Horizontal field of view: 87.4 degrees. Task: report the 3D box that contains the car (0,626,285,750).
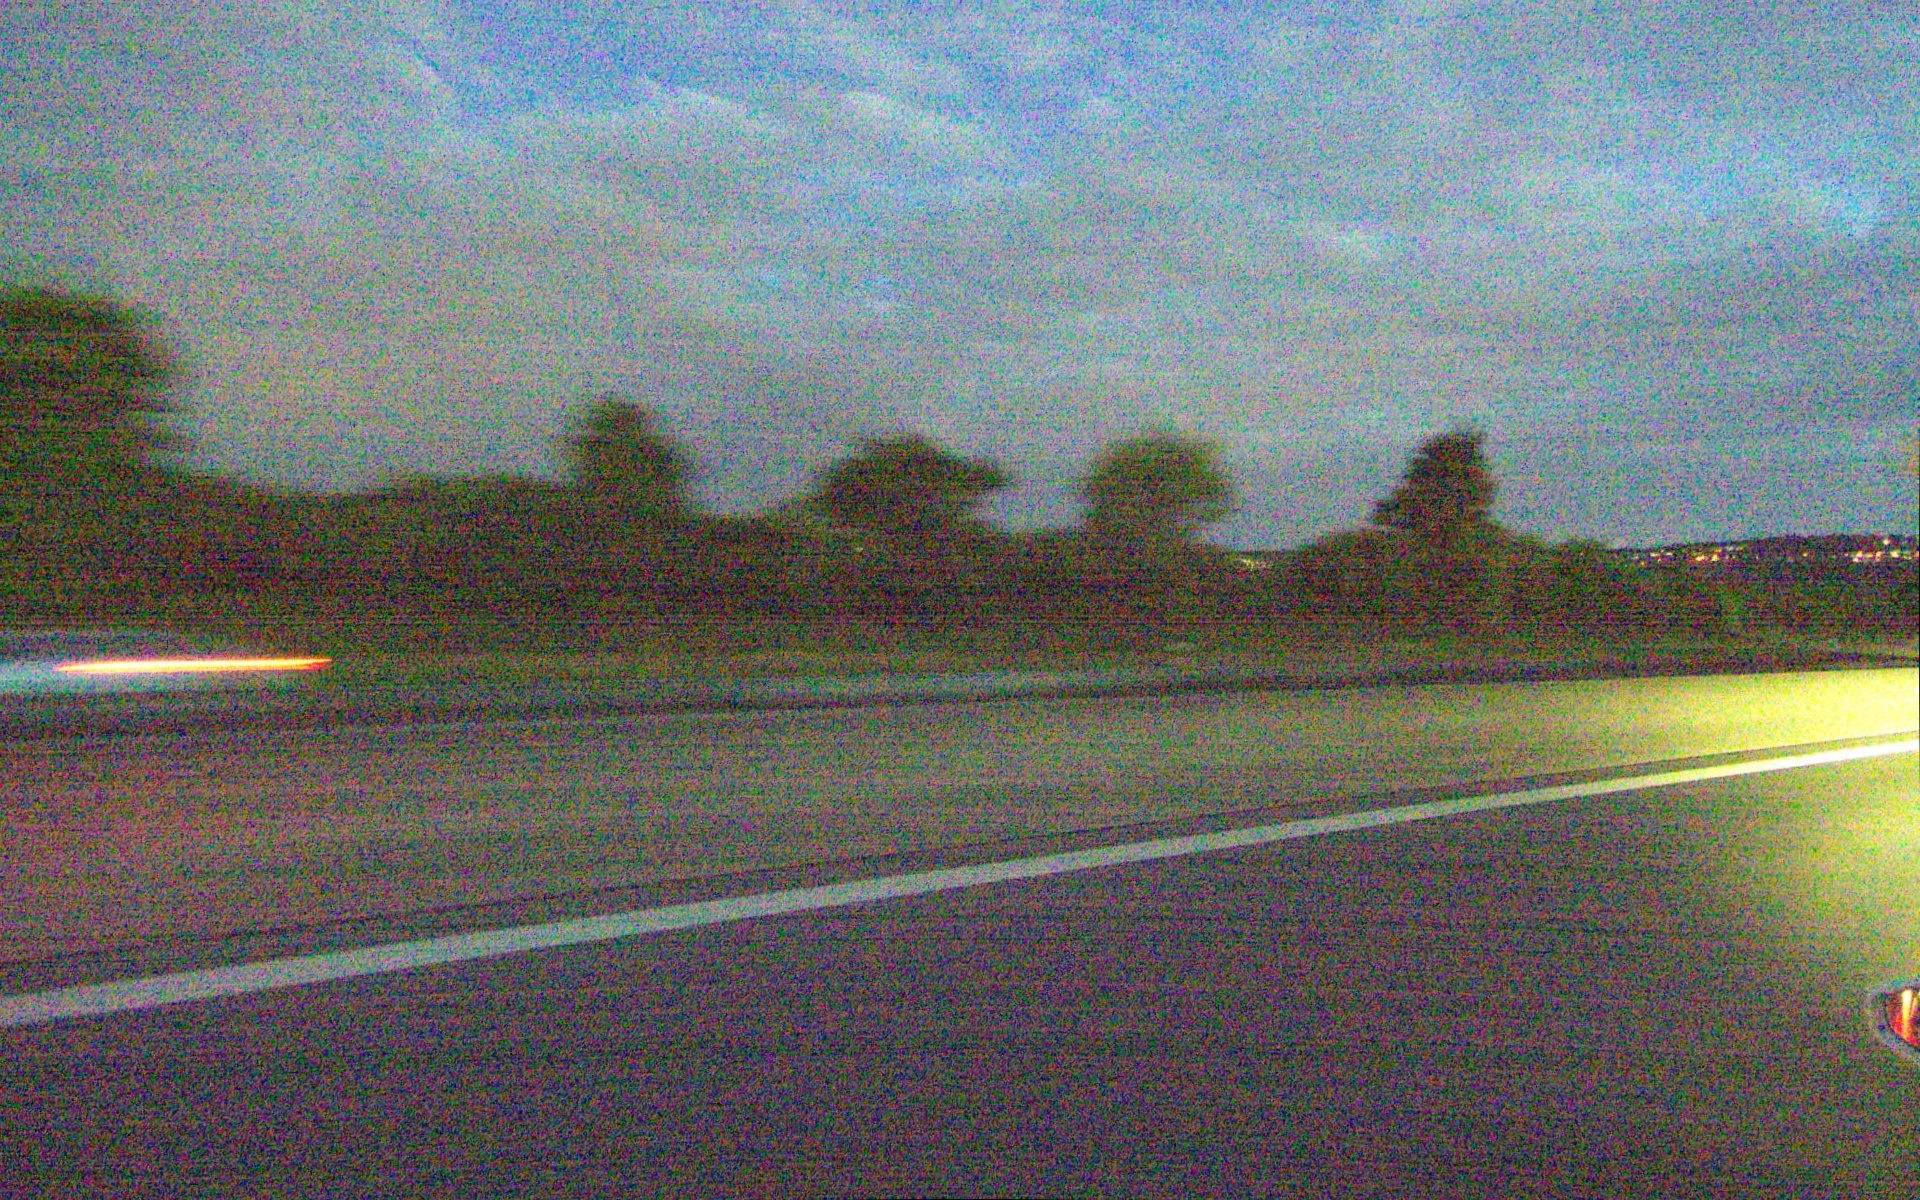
[{"bbox_3d":[-12.430,1.146,13.715,5.122,1.558,1.955,1,-1,-29],"label":"car"}]
